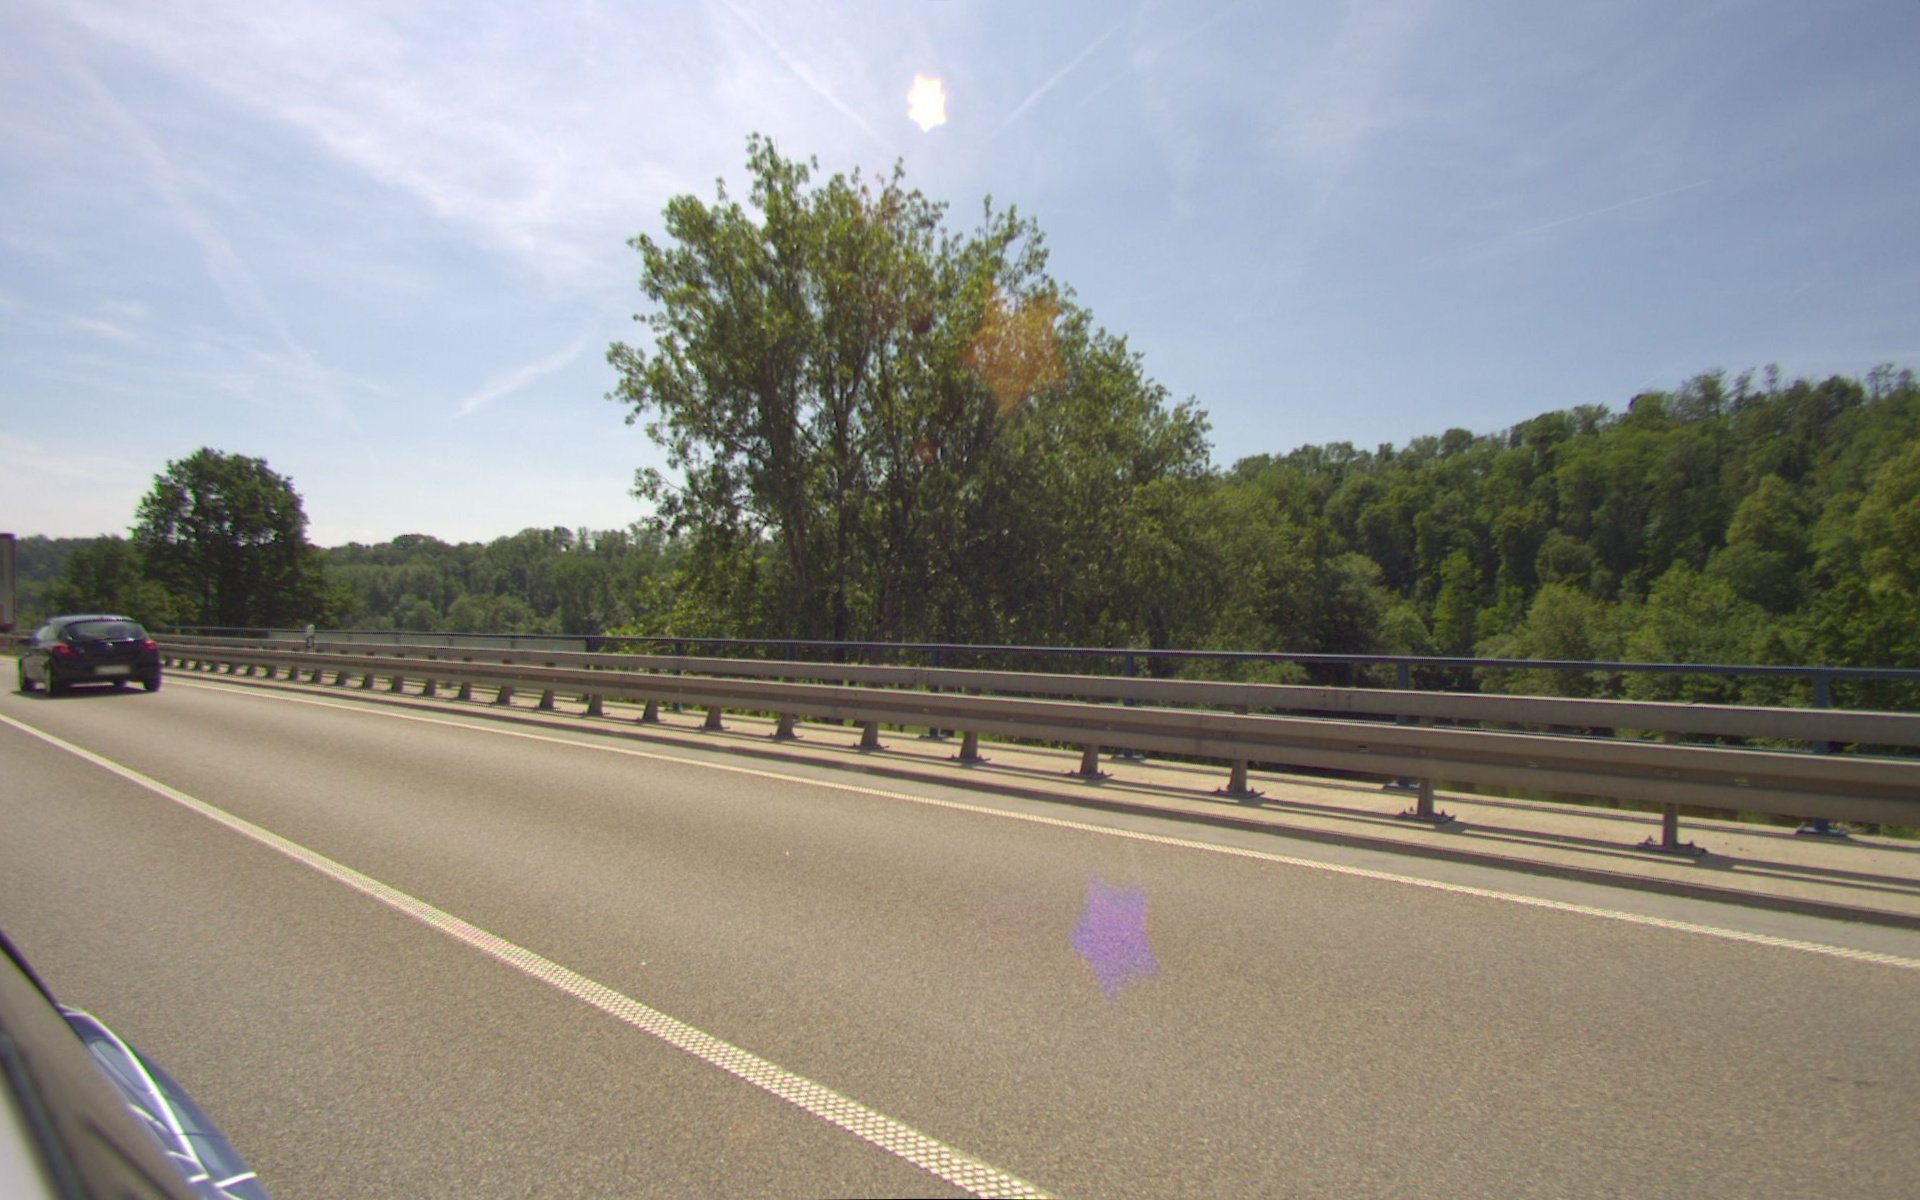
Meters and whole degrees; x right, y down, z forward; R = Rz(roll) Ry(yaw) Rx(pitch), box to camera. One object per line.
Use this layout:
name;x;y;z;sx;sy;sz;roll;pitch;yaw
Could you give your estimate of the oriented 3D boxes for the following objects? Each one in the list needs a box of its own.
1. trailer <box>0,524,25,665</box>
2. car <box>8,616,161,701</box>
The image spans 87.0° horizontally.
trailer;-34.936;-0.084;33.837;14.471;4.219;2.827;-1;0;37
car;-17.175;1.086;19.807;3.890;1.469;1.645;-2;-1;40
